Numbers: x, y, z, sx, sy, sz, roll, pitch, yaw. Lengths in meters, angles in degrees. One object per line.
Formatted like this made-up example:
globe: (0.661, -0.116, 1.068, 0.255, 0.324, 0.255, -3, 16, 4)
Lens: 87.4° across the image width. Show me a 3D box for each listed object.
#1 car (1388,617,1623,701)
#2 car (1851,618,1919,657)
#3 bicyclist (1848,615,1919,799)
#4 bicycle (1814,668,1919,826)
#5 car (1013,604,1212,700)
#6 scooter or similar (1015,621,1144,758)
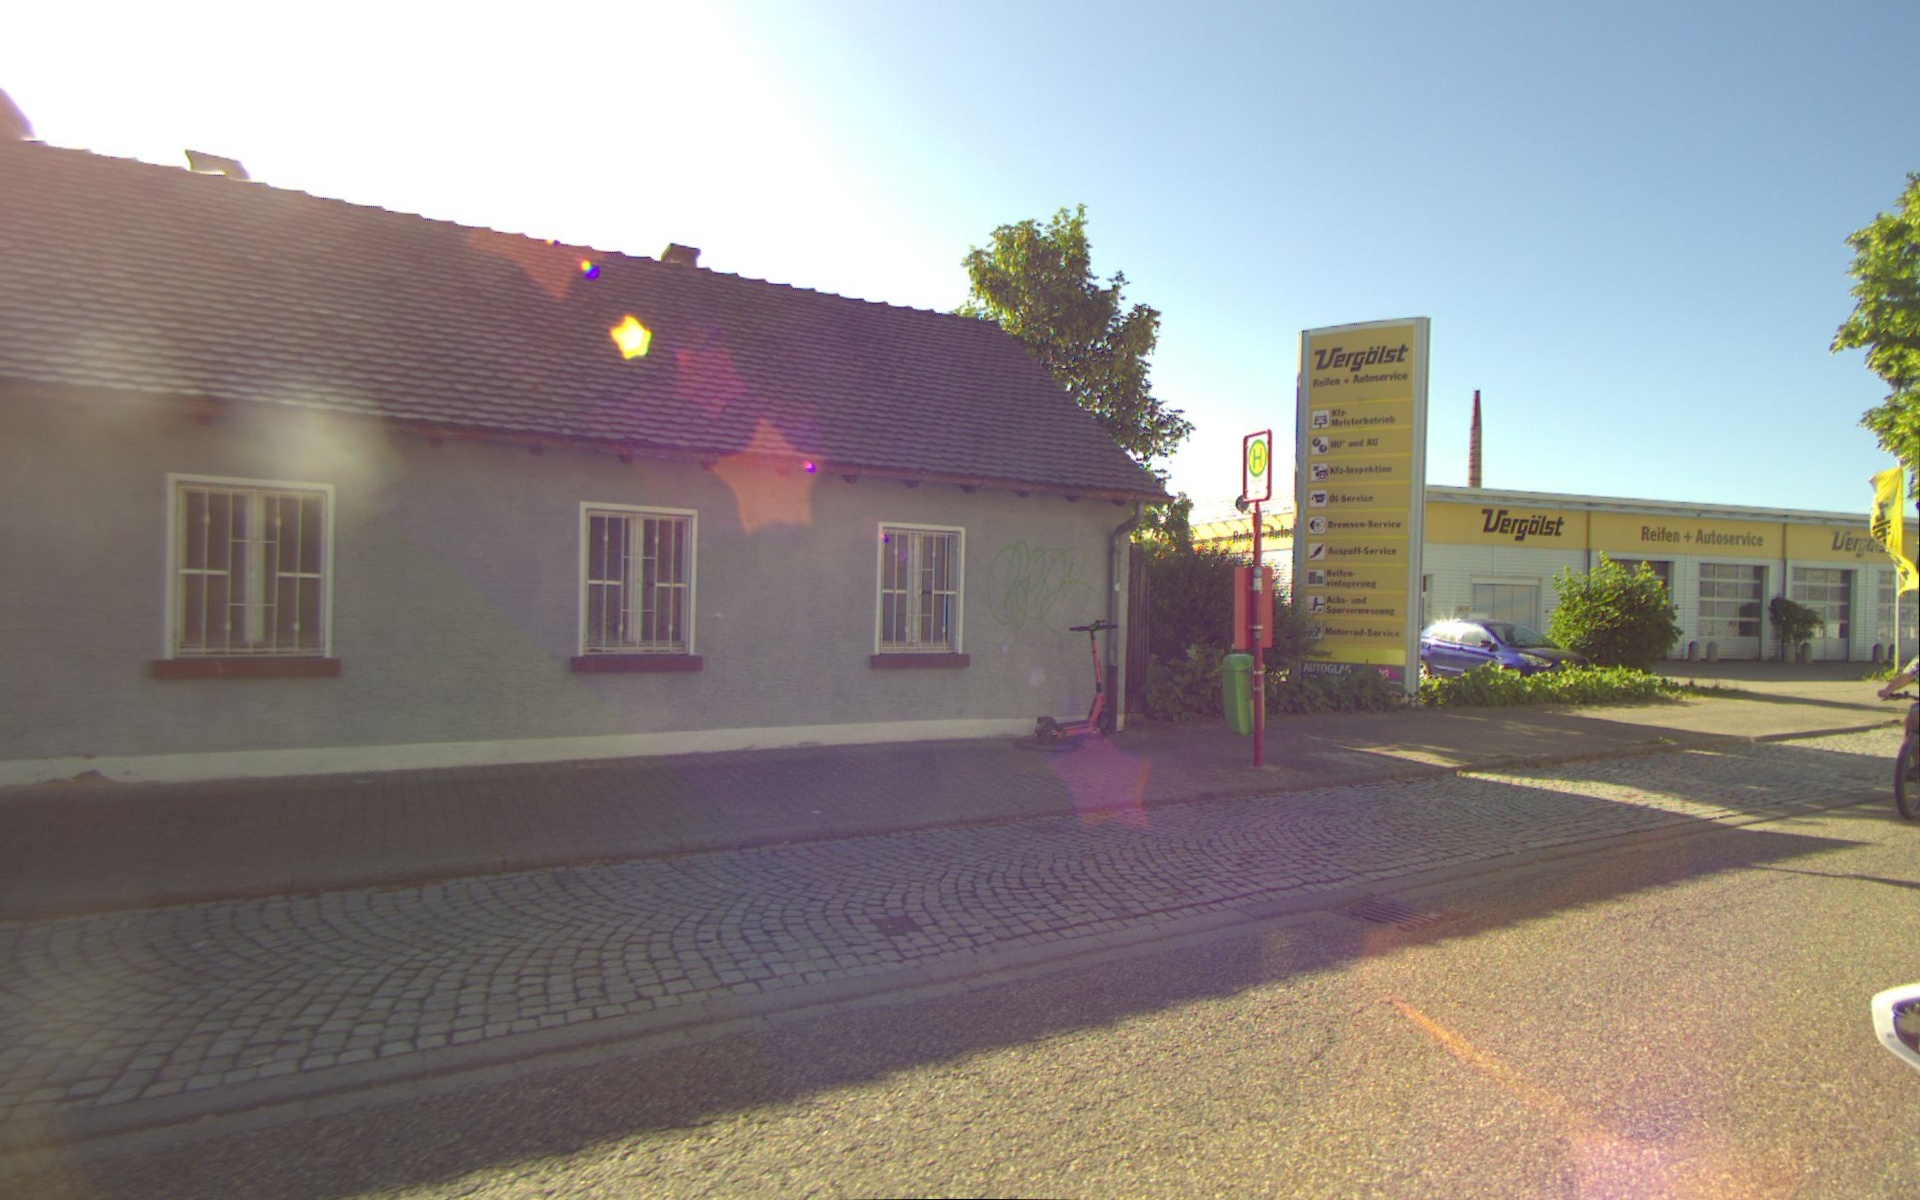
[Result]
car: (11.490, 1.178, 21.540, 1.967, 1.528, 4.345, 1, 0, -15)
car: (41.507, 1.634, 43.389, 1.887, 1.595, 4.153, 1, 0, -19)
bicyclist: (8.638, 0.925, 8.848, 1.122, 1.562, 0.836, 2, -3, -27)
bicycle: (8.684, 1.228, 8.854, 2.571, 1.256, 0.836, 2, -3, -28)
car: (2.669, 0.869, 18.550, 1.749, 1.535, 4.049, 1, 0, -24)
scooter or similar: (1.255, 0.868, 10.308, 0.476, 1.287, 1.569, 1, 0, 42)
